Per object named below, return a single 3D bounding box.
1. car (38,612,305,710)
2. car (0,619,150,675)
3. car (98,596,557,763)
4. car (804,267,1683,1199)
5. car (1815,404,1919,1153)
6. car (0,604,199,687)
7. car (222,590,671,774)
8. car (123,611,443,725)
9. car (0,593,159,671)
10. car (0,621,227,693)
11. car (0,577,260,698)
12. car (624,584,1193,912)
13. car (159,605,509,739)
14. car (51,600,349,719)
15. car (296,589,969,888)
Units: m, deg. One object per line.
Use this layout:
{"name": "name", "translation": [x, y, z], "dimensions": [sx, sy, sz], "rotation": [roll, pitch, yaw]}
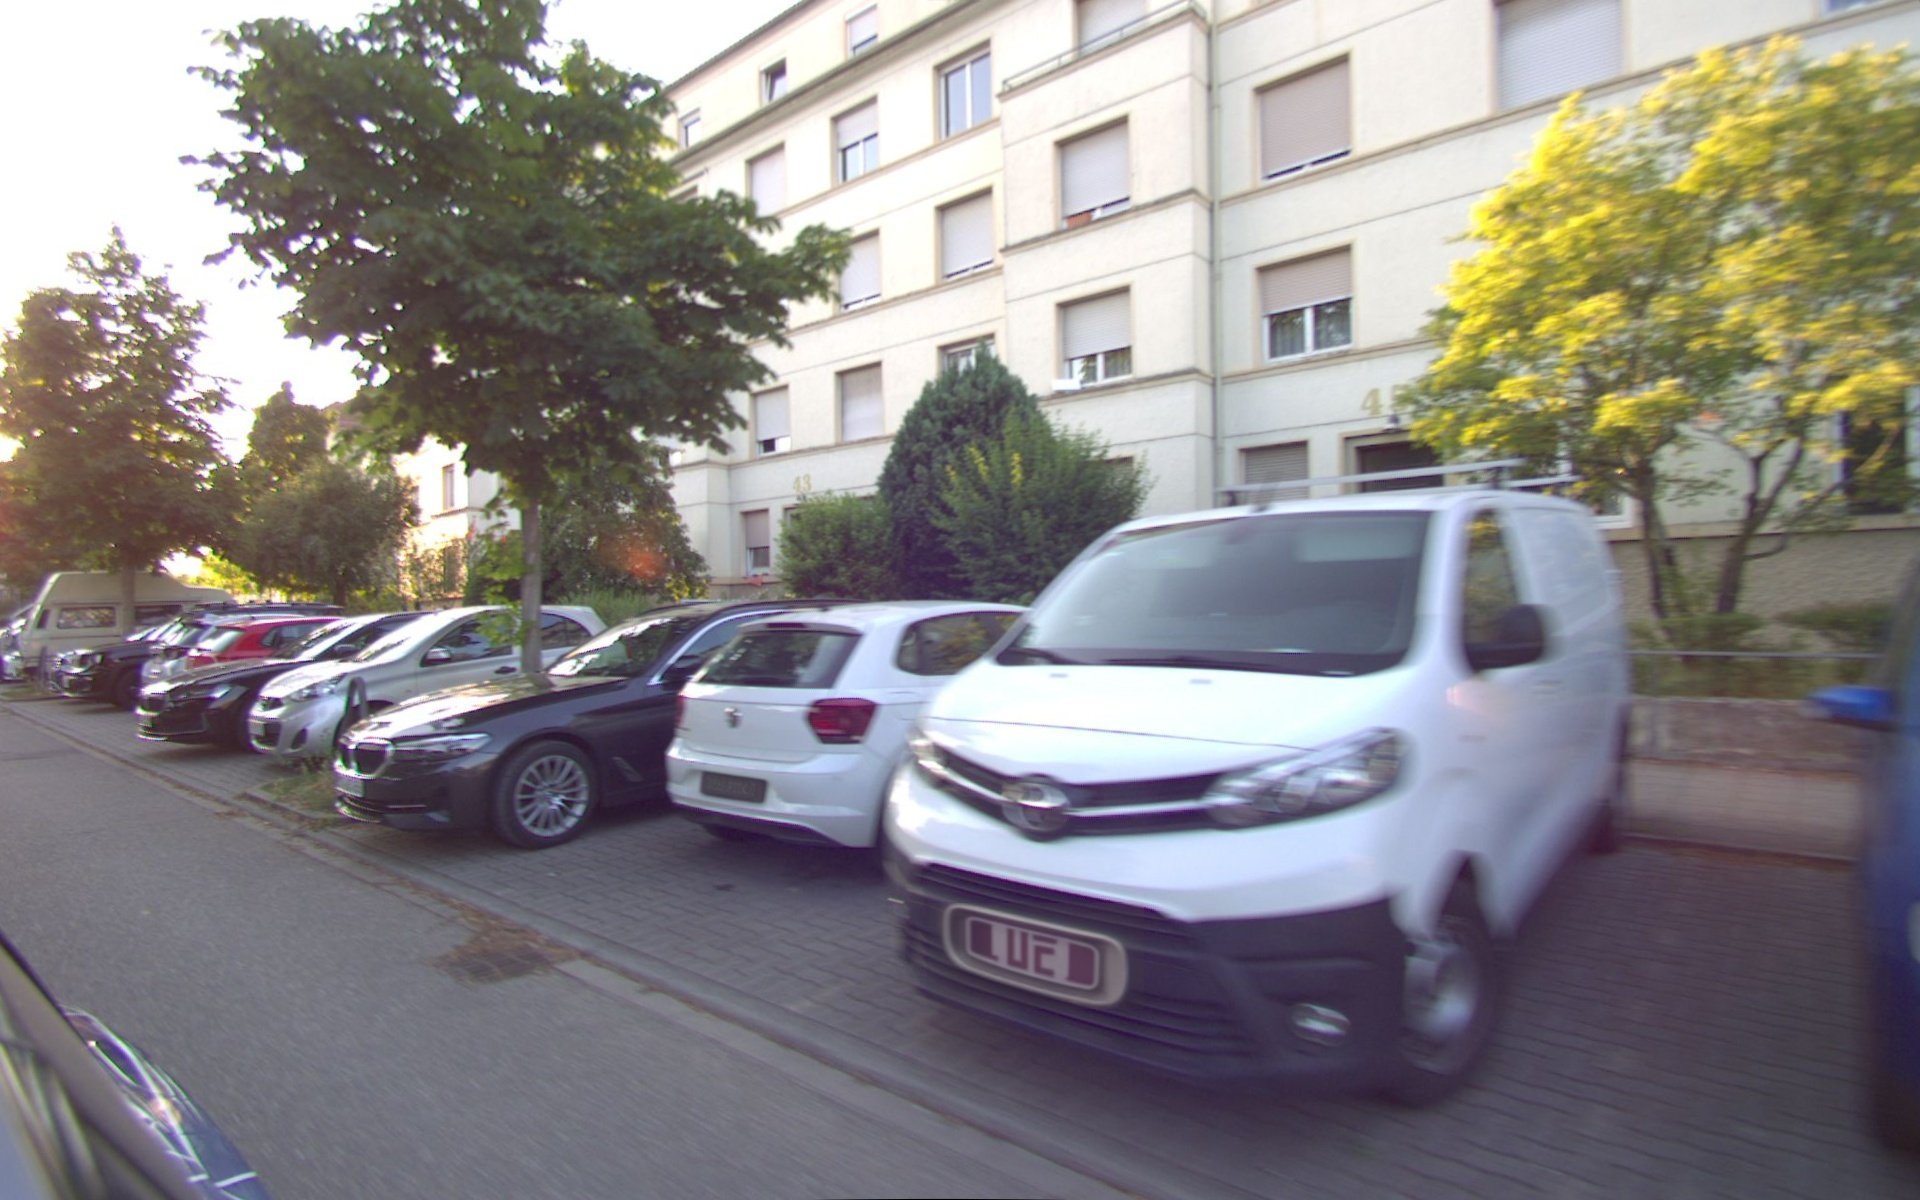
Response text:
{"name": "car", "translation": [-15.023, 1.089, 19.414], "dimensions": [1.786, 1.607, 3.818], "rotation": [-2, -1, 43]}
{"name": "car", "translation": [-29.530, 1.532, 33.761], "dimensions": [3.760, 1.534, 1.654], "rotation": [-3, 1, -44]}
{"name": "car", "translation": [-7.454, 0.808, 12.365], "dimensions": [1.896, 1.627, 4.367], "rotation": [-2, -1, 36]}
{"name": "car", "translation": [1.773, 0.341, 4.507], "dimensions": [1.998, 2.029, 4.725], "rotation": [-2, -1, 39]}
{"name": "car", "translation": [3.739, 0.432, 2.854], "dimensions": [1.797, 1.766, 3.949], "rotation": [-2, -1, 38]}
{"name": "car", "translation": [-22.454, 1.121, 25.774], "dimensions": [2.000, 1.888, 4.623], "rotation": [-2, -1, 42]}
{"name": "car", "translation": [-5.324, 0.723, 10.952], "dimensions": [1.798, 1.590, 3.951], "rotation": [-2, -1, 36]}
{"name": "car", "translation": [-10.818, 0.998, 16.402], "dimensions": [1.787, 1.536, 3.949], "rotation": [-2, -1, 38]}
{"name": "car", "translation": [-31.901, 1.113, 36.397], "dimensions": [4.676, 2.589, 2.002], "rotation": [-1, -1, -44]}
{"name": "car", "translation": [-20.286, 1.299, 24.225], "dimensions": [2.000, 1.436, 4.130], "rotation": [-2, -1, 42]}
{"name": "car", "translation": [-18.559, 0.747, 22.629], "dimensions": [2.001, 2.449, 4.451], "rotation": [-2, -1, 44]}
{"name": "car", "translation": [-0.142, 0.679, 6.483], "dimensions": [1.758, 1.495, 3.378], "rotation": [-2, -1, 42]}
{"name": "car", "translation": [-8.854, 0.928, 14.612], "dimensions": [1.728, 1.595, 3.951], "rotation": [-2, -1, 36]}
{"name": "car", "translation": [-13.125, 0.936, 17.643], "dimensions": [1.841, 1.790, 3.822], "rotation": [-2, -1, 39]}
{"name": "car", "translation": [-2.161, 0.749, 7.935], "dimensions": [1.879, 1.481, 4.725], "rotation": [-1, 2, 40]}
